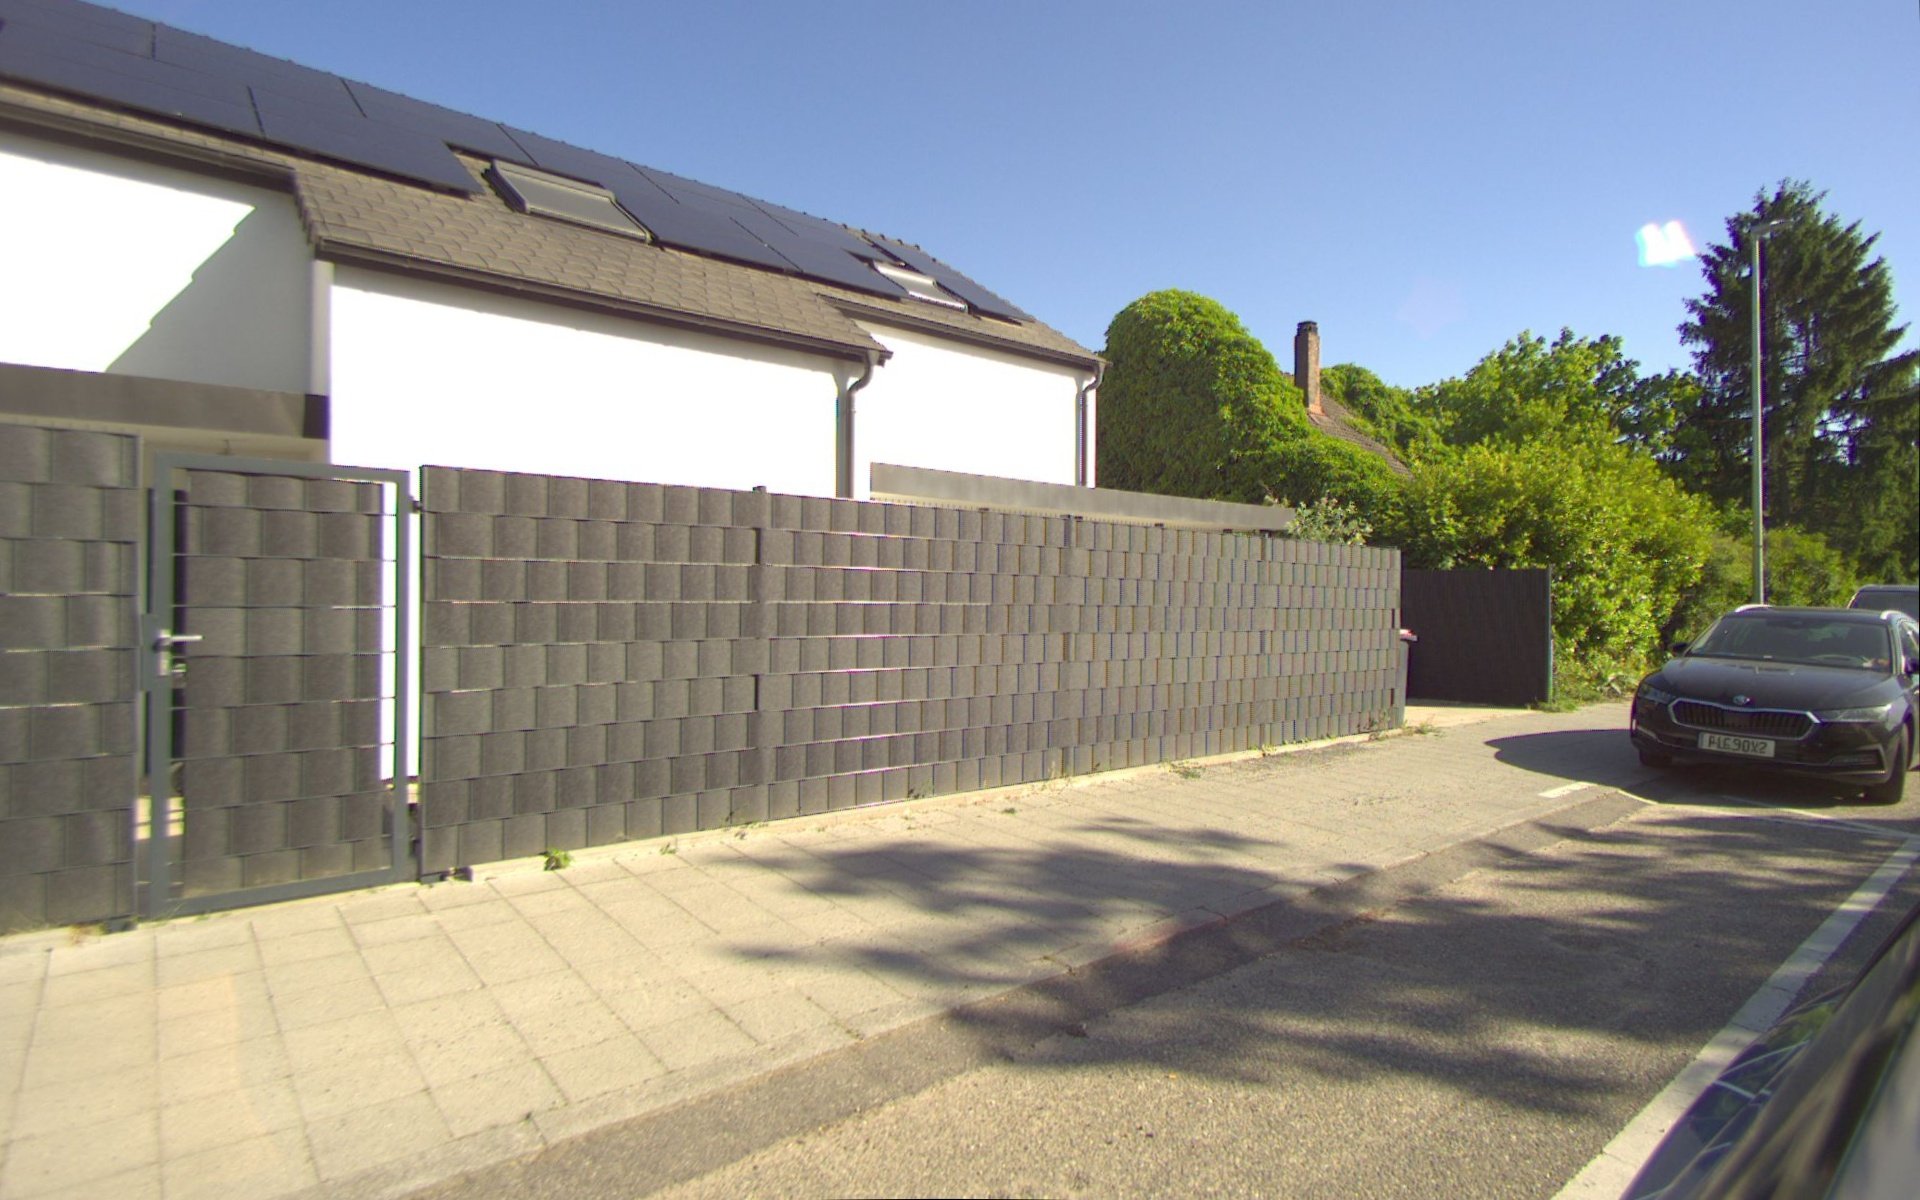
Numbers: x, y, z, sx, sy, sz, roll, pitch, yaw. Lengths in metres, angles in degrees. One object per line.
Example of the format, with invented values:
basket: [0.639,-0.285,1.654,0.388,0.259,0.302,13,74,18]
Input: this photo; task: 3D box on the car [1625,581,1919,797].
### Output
car: [8.009,0.628,9.337,4.902,1.498,1.769,1,1,-40]

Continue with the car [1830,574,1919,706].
car: [15.784,0.586,16.363,4.614,1.932,1.840,0,-1,-40]

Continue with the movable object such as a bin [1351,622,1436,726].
movable object such as a bin: [4.762,0.789,11.112,0.691,1.053,0.596,-2,2,-38]
